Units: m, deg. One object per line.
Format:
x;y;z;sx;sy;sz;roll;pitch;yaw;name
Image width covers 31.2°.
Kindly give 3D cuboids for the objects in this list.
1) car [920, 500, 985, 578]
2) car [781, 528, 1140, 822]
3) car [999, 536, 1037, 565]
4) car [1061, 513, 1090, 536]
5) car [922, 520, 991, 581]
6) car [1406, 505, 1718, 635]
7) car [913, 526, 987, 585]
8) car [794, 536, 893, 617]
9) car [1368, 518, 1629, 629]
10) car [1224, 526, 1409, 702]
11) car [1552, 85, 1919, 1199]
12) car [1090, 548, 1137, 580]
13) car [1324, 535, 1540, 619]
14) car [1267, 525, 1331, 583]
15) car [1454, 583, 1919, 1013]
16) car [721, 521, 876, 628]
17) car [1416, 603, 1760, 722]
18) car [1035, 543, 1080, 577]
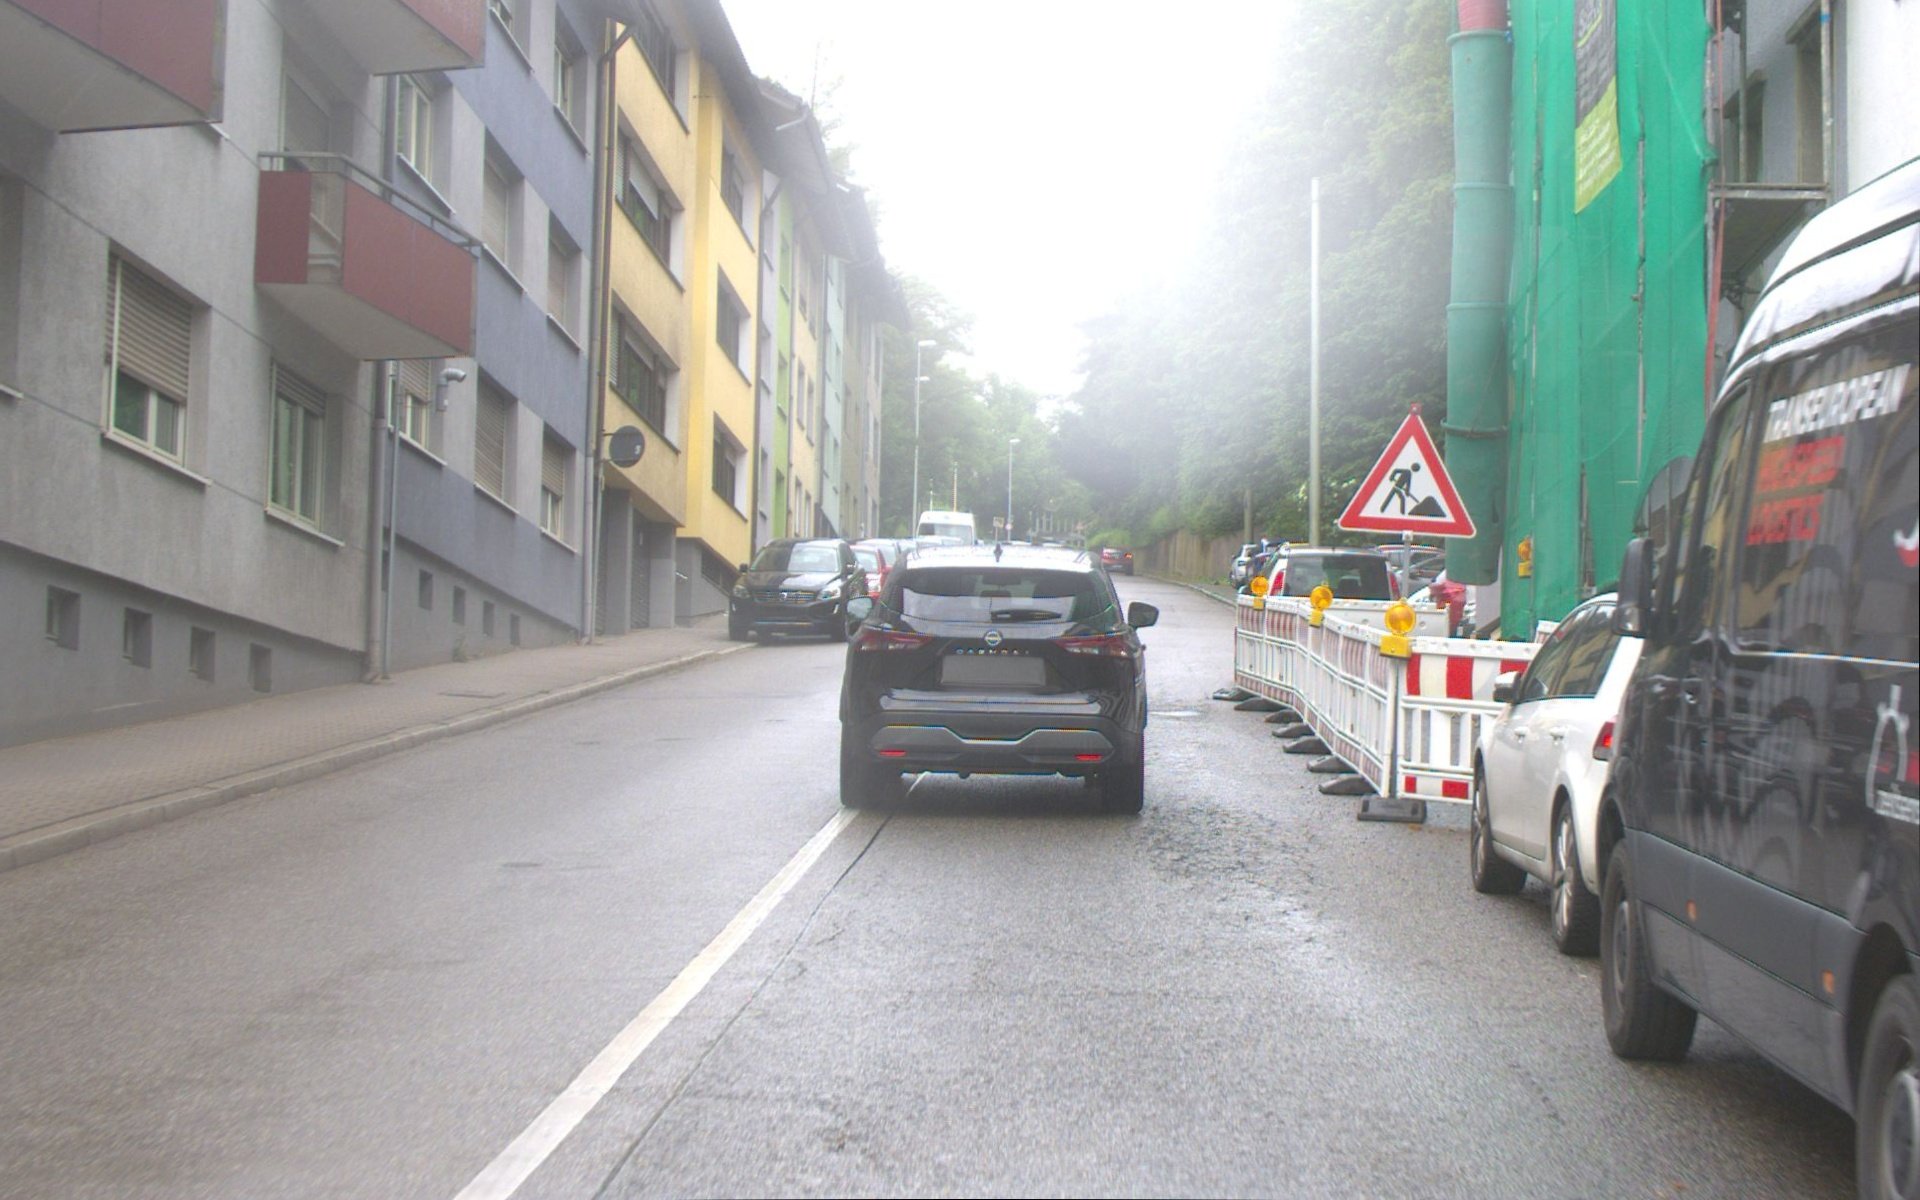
-0.223;-2.017;111.866;1.990;2.466;5.784;1;2;1;car
0.069;0.385;21.667;1.994;1.554;4.000;2;2;2;car
3.314;-2.841;196.671;2.074;1.554;4.000;2;1;1;car
8.610;-5.612;255.635;1.994;1.554;3.999;0;-1;4;car
-0.081;-1.522;103.613;1.990;1.749;4.480;1;2;1;car
9.194;-0.474;52.766;4.341;1.524;1.877;-6;1;1;car
-0.267;-1.278;97.078;1.990;1.579;4.305;1;2;1;car
-2.243;-0.478;66.884;1.728;1.467;3.491;1;2;1;car
8.966;-0.459;57.440;3.961;1.524;1.693;-4;1;-1;car
3.979;0.108;38.902;1.640;1.756;4.000;3;2;1;car
2.955;0.221;8.699;1.994;2.405;5.836;2;-1;2;car
7.807;-1.841;175.303;2.074;1.554;4.000;2;1;-1;car
9.890;-0.493;72.224;4.198;1.491;1.760;4;1;0;car
9.410;-1.303;95.676;1.633;1.525;4.000;2;1;4;car
3.411;0.739;14.899;1.994;1.507;4.337;2;1;2;car
-2.605;-0.456;56.482;1.994;1.644;4.441;1;2;4;car
8.406;0.823;46.285;4.268;1.461;1.894;1;1;1;car
4.755;-1.967;168.258;2.074;1.554;4.000;2;1;1;car
